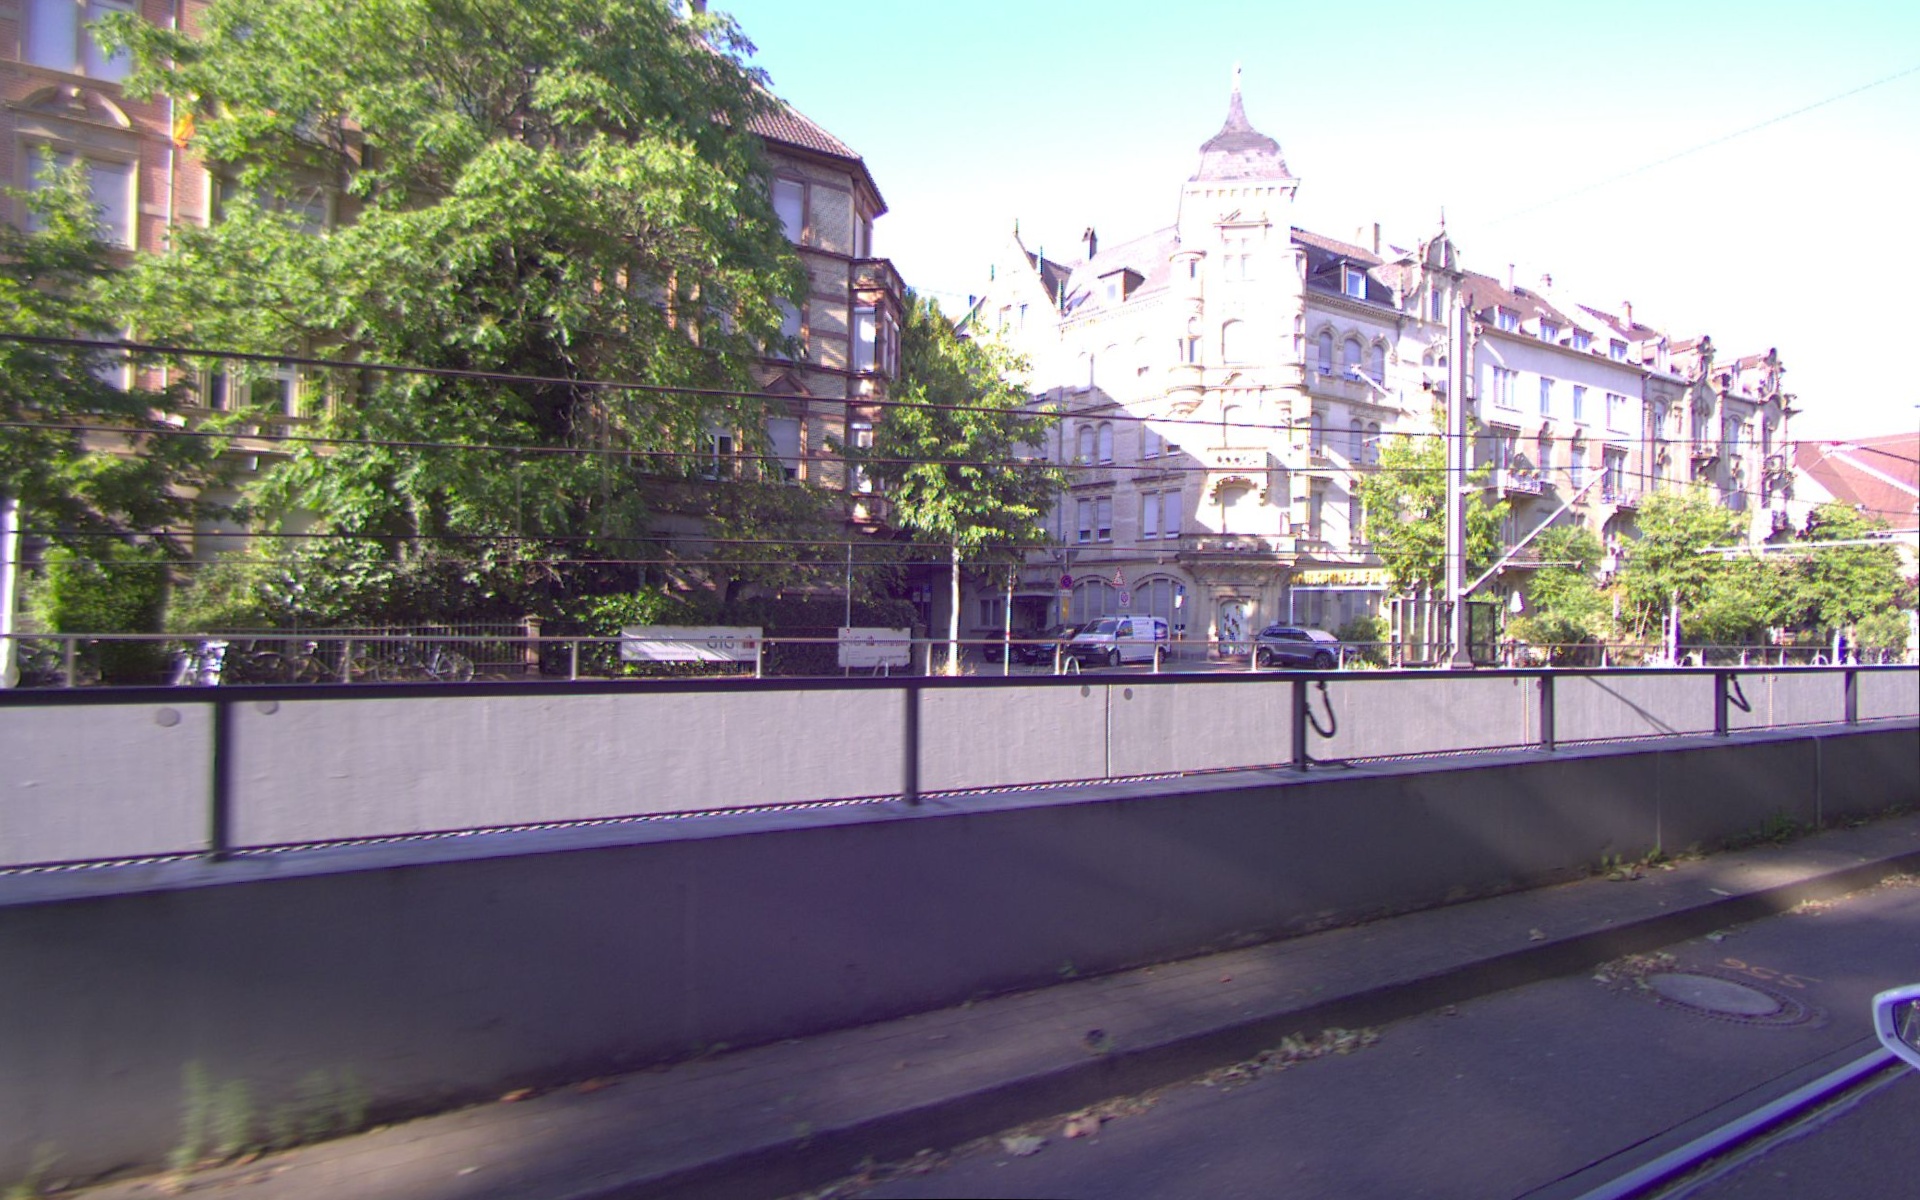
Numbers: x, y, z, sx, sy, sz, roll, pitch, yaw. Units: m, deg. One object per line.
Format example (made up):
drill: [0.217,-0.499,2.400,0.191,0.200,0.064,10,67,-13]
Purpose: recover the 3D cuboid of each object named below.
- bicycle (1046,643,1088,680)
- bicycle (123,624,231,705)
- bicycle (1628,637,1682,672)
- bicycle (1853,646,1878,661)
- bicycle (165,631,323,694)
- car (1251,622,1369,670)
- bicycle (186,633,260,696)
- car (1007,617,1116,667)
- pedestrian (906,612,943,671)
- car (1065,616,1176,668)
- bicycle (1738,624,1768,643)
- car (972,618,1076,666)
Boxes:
bicycle: [3.153,1.816,29.465,0.447,1.018,1.942,3,-2,29]
bicycle: [-12.758,1.012,16.342,2.333,1.113,0.556,3,2,31]
bicycle: [27.562,2.147,39.864,0.591,1.296,1.727,1,-1,-23]
bicycle: [52.537,3.103,58.253,1.863,0.811,0.415,2,1,-27]
bicycle: [-13.410,1.157,18.907,2.348,1.113,0.552,1,1,-30]
car: [13.469,1.729,38.819,1.809,1.646,3.956,1,0,-38]
bicycle: [-12.282,1.060,16.735,1.246,0.917,0.538,3,2,31]
car: [4.269,1.699,41.882,4.446,1.874,1.975,1,2,-42]
pedestrian: [-1.073,1.235,30.142,0.852,1.711,0.717,1,1,-24]
car: [6.445,1.635,40.142,4.446,1.874,1.975,1,2,-42]
bicycle: [46.304,1.964,58.630,2.084,1.032,0.503,2,1,-26]
car: [2.860,1.791,44.082,4.446,1.874,1.975,1,2,-42]
